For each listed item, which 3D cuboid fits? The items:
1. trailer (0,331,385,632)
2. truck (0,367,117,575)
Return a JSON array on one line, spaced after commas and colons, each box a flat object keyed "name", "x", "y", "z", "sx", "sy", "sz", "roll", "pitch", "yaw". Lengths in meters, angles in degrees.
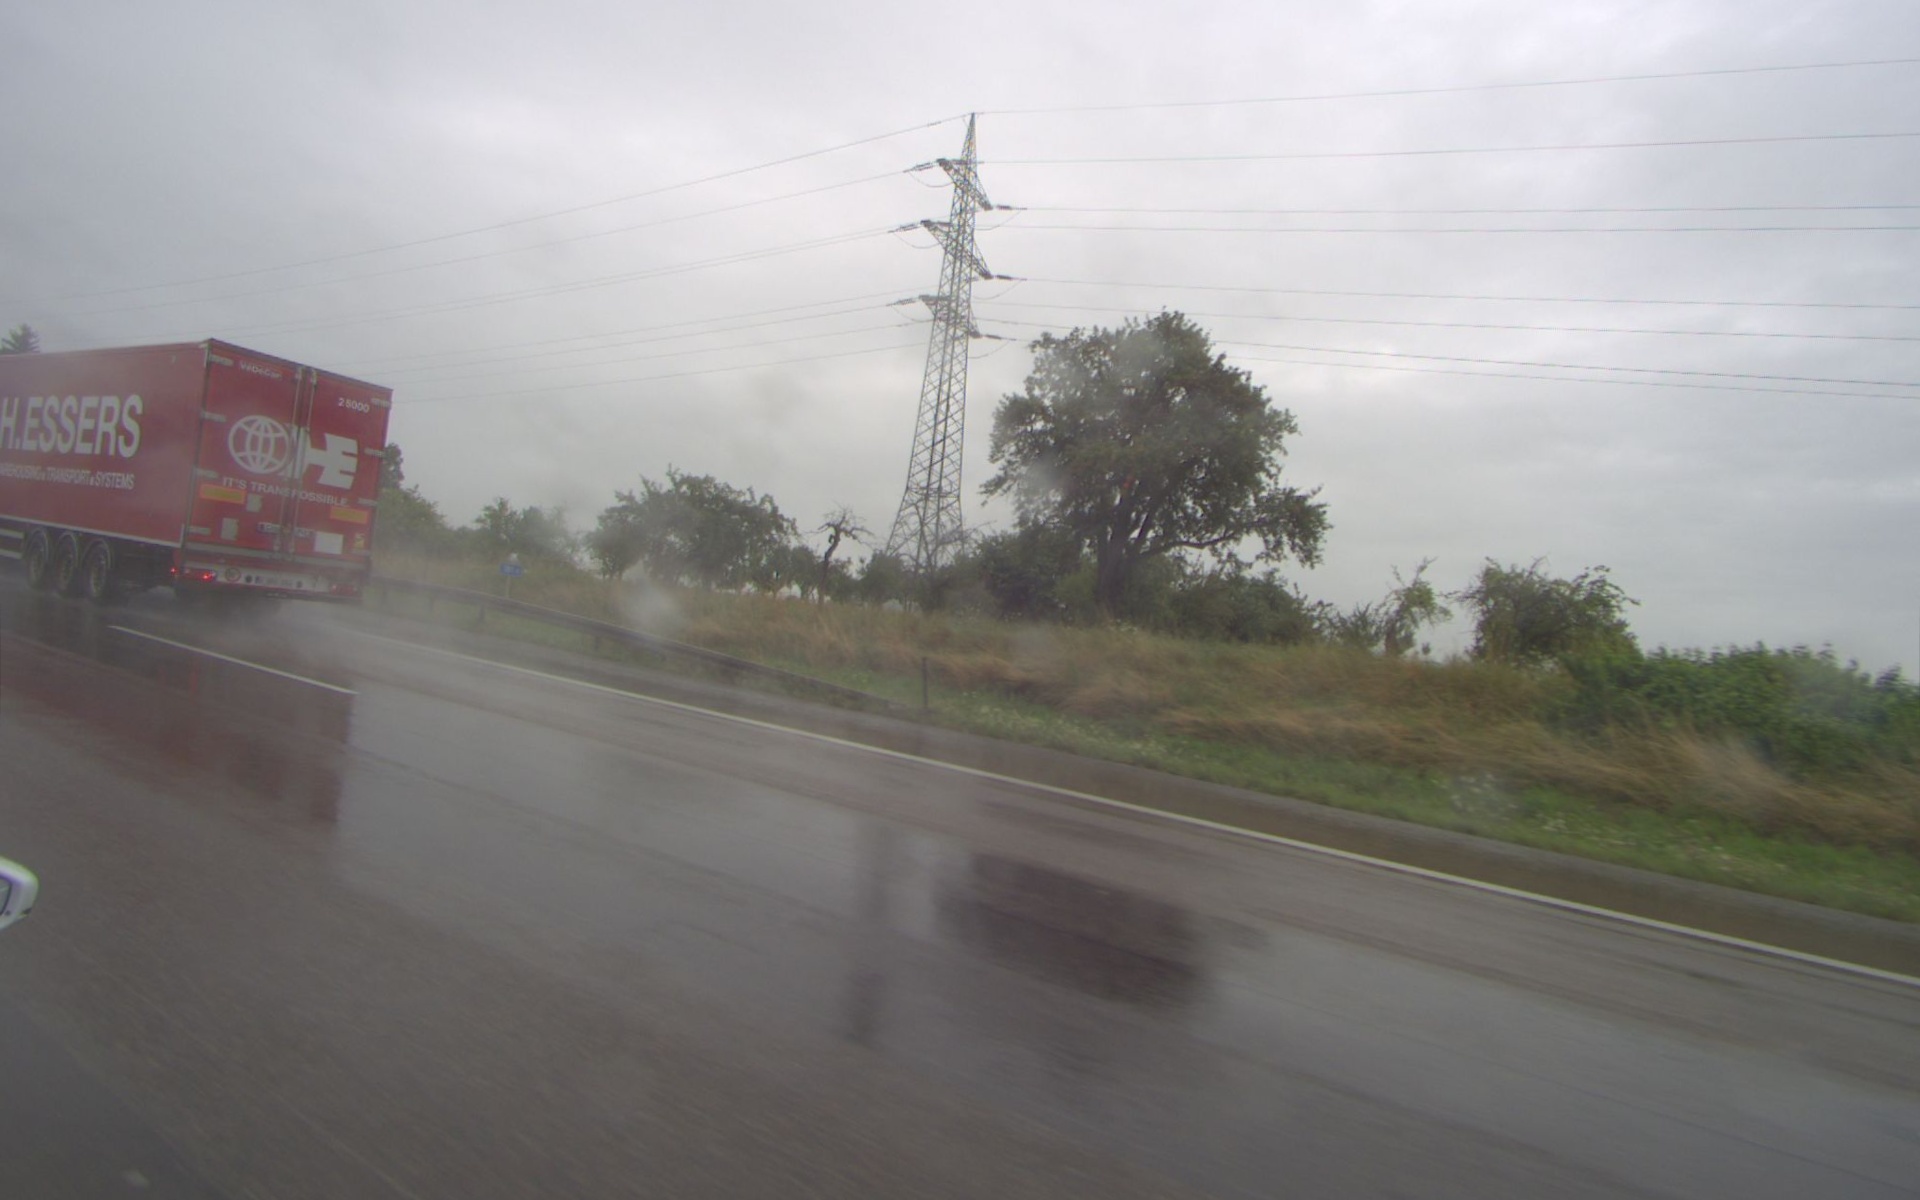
[{"name": "trailer", "x": -15.691, "y": -2.244, "z": 18.462, "sx": 13.405, "sy": 4.003, "sz": 2.623, "roll": 7, "pitch": 0, "yaw": 32}, {"name": "truck", "x": -21.398, "y": -2.898, "z": 22.083, "sx": 5.343, "sy": 4.003, "sz": 2.624, "roll": 7, "pitch": 0, "yaw": 32}]
